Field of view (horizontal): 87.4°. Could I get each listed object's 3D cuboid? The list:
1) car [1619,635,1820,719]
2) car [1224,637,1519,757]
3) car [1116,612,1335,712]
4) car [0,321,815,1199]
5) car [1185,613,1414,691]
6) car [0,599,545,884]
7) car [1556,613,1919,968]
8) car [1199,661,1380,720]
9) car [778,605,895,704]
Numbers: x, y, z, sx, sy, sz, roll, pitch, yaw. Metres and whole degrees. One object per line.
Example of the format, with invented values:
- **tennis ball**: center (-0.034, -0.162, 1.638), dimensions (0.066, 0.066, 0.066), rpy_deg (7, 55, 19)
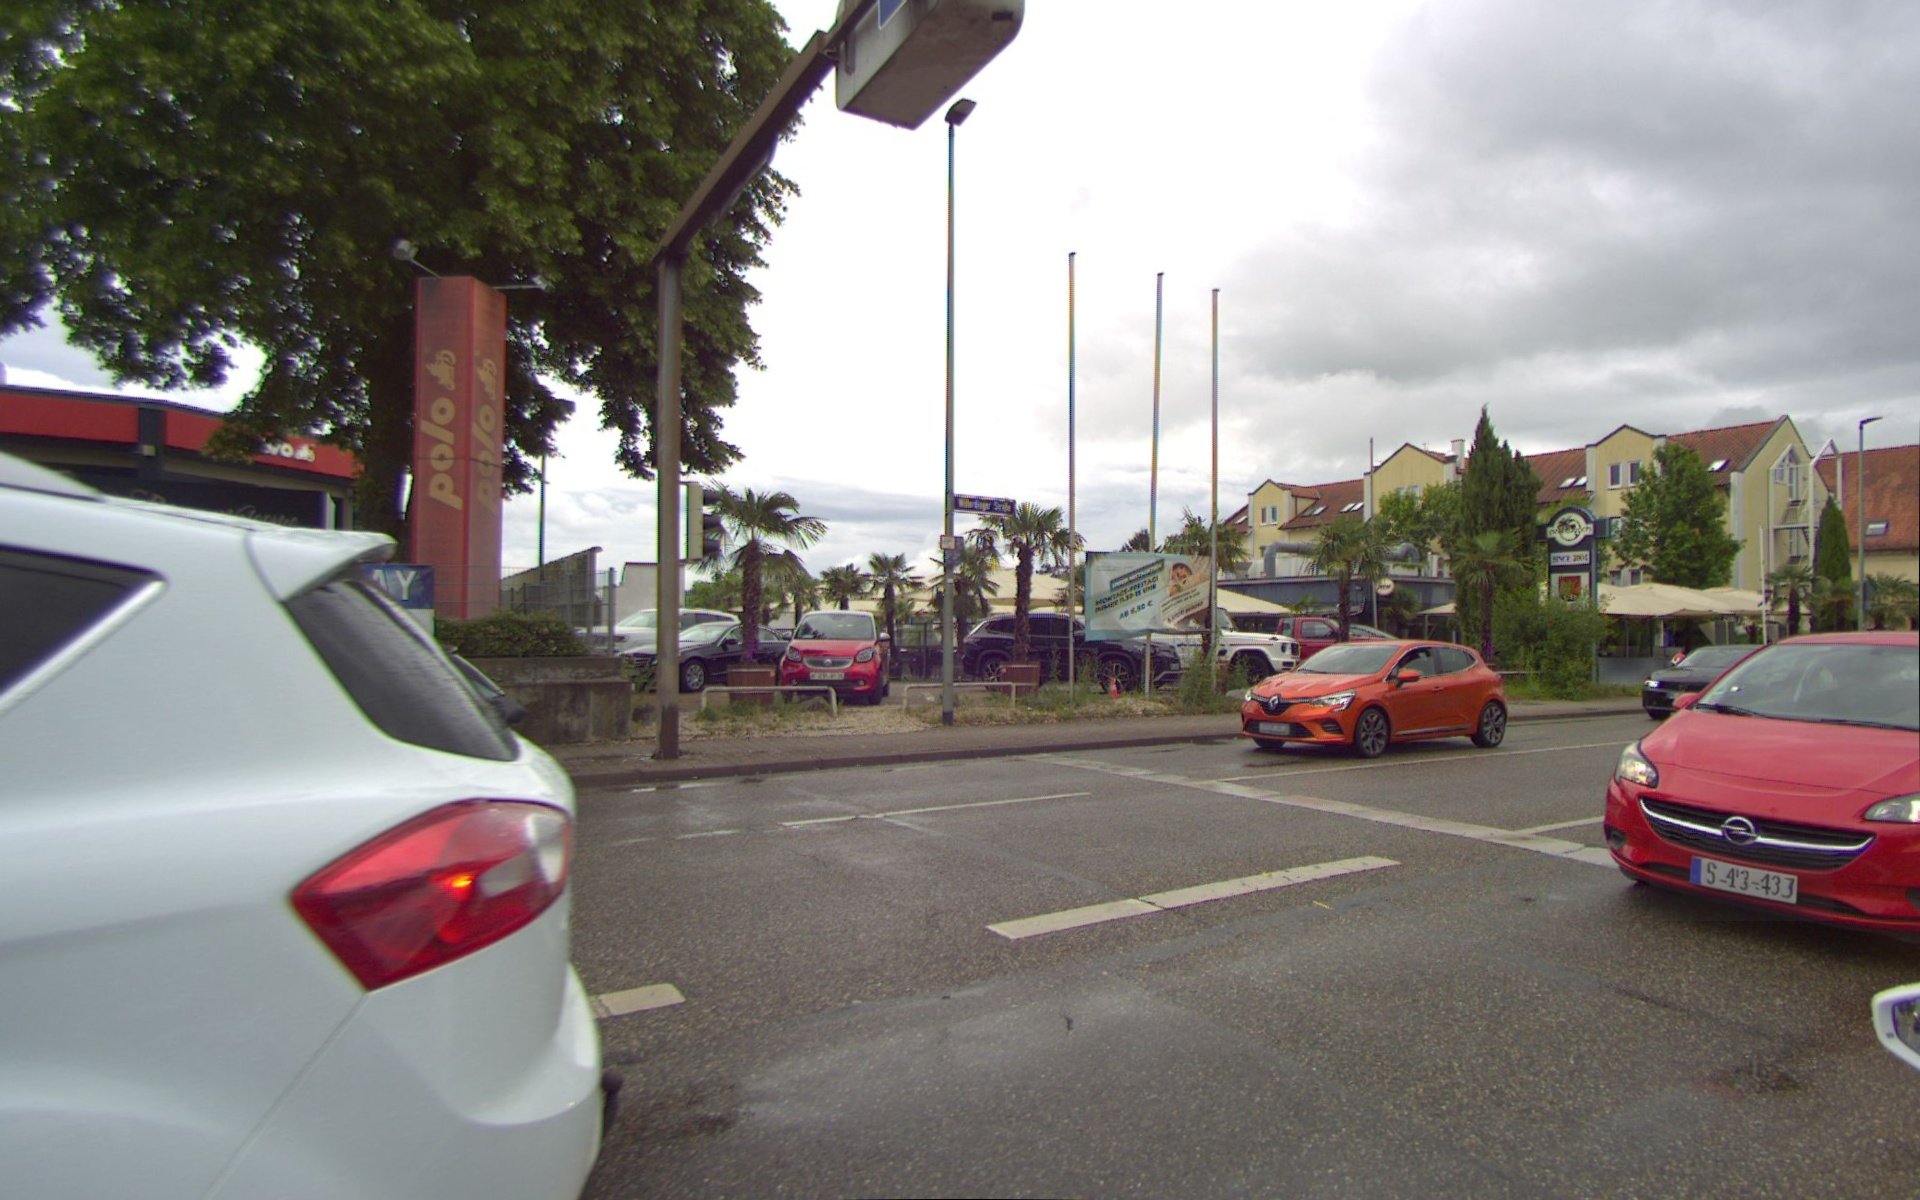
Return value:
- **car**: center (14.529, 1.405, 19.147), dimensions (4.356, 1.418, 1.593), rpy_deg (1, -3, -32)
- **car**: center (5.488, 1.179, 13.292), dimensions (3.901, 1.349, 1.615), rpy_deg (1, -2, -31)
- **car**: center (5.919, 1.379, 22.546), dimensions (4.324, 2.040, 1.995), rpy_deg (-2, -3, 32)
- **car**: center (-2.478, 0.566, 1.078), dimensions (4.248, 1.671, 1.830), rpy_deg (1, -1, -31)
- **car**: center (8.171, 1.297, 24.366), dimensions (4.927, 1.724, 1.996), rpy_deg (-2, -5, 33)
- **car**: center (-5.128, 0.850, 7.020), dimensions (3.953, 1.639, 1.668), rpy_deg (0, -2, -31)
- **car**: center (5.363, 0.867, 5.755), dimensions (4.097, 1.452, 1.624), rpy_deg (2, -2, -31)
- **car**: center (8.940, 2.439, 27.385), dimensions (4.297, 1.482, 1.994), rpy_deg (-3, -6, 36)
- **car**: center (-2.050, 0.930, 17.570), dimensions (1.633, 1.523, 3.619), rpy_deg (1, -2, -1)
